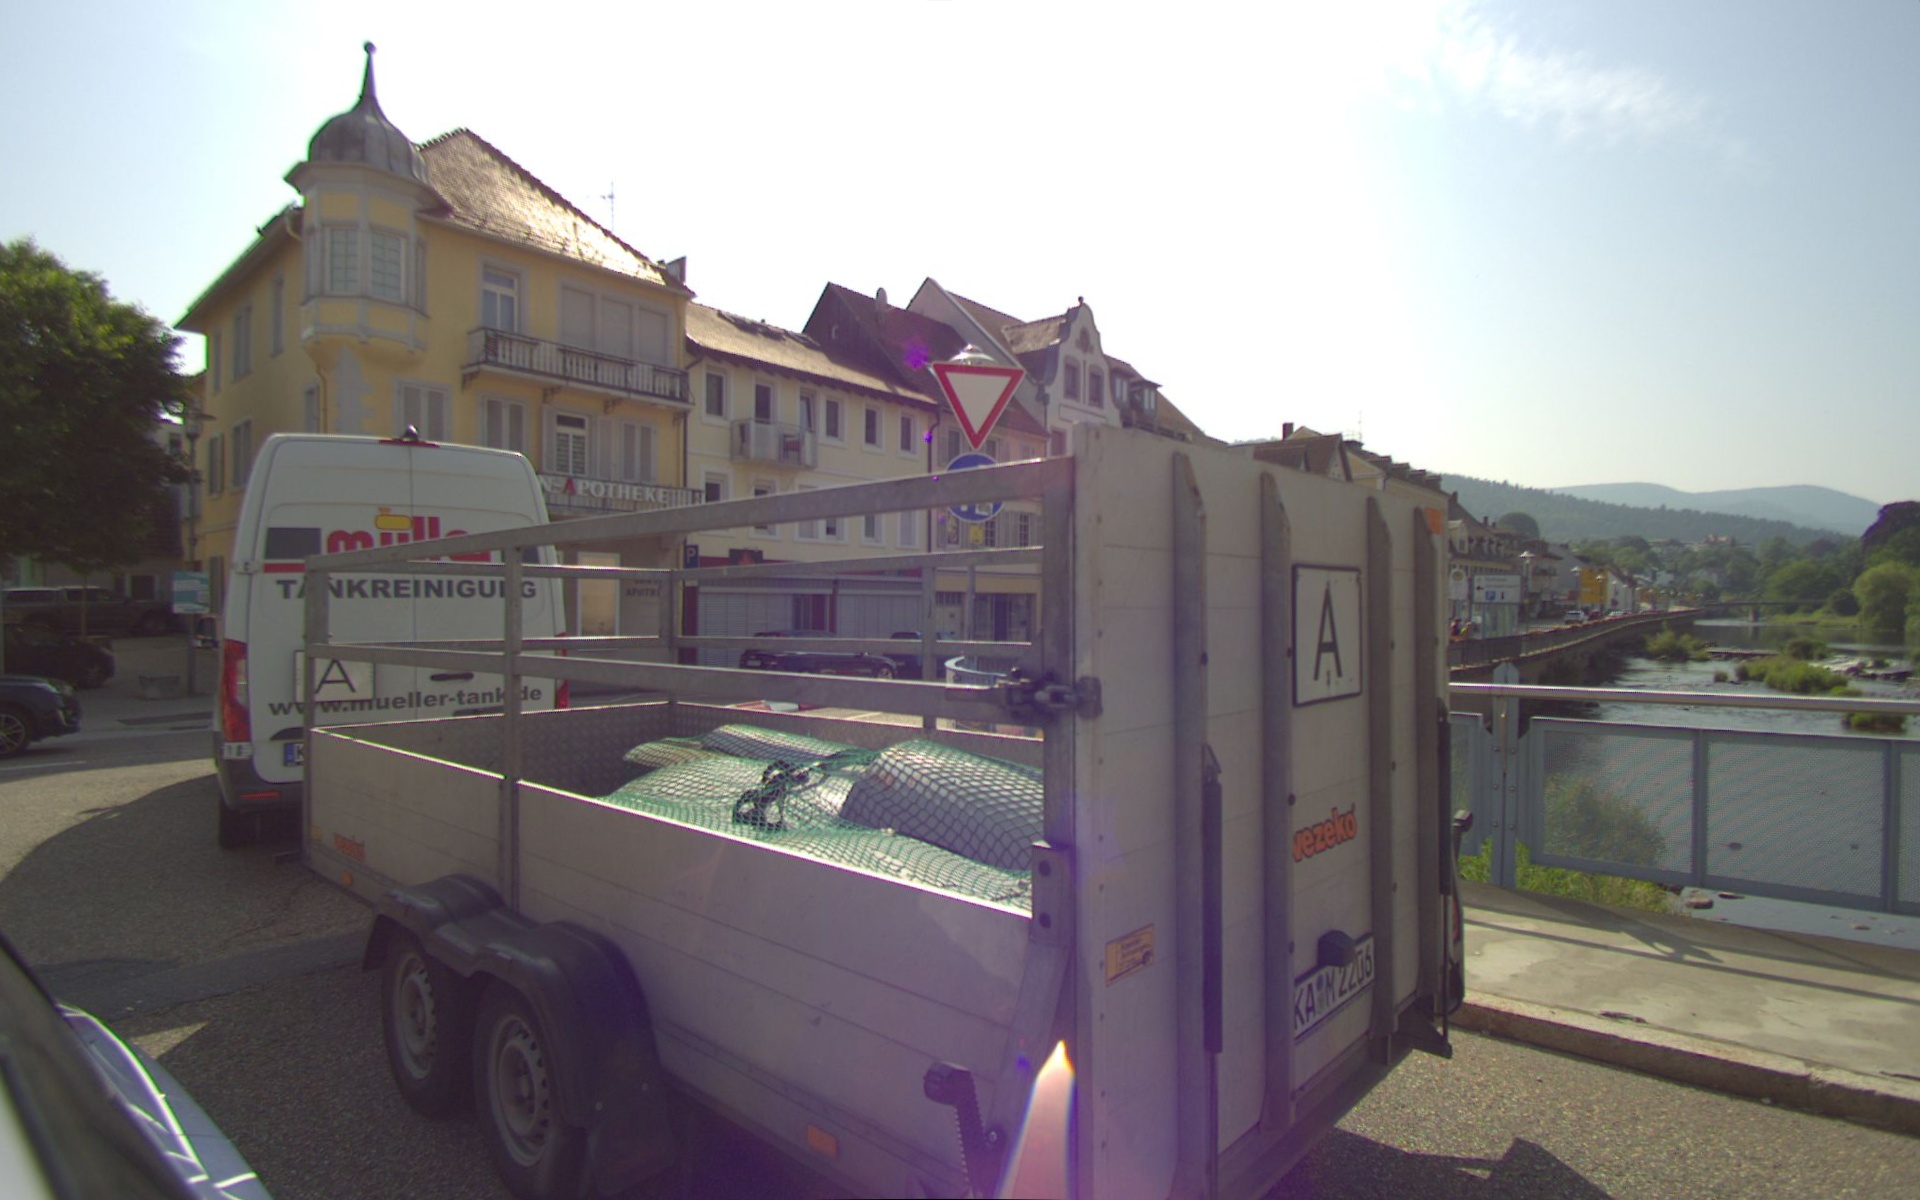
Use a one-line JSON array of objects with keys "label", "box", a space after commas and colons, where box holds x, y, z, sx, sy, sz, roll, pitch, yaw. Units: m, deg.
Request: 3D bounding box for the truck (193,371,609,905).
[{"label": "truck", "box": [-5.167, 0.357, 8.661, 2.077, 2.720, 7.149, 1, -3, -36]}]

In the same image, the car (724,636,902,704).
[{"label": "car", "box": [-3.415, 1.604, 24.191, 1.754, 1.367, 4.146, -2, -1, 38]}]

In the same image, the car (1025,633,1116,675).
[{"label": "car", "box": [4.213, 1.998, 38.266, 1.750, 1.459, 3.747, -1, -2, 37]}]

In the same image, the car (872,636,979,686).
[{"label": "car", "box": [-1.051, 1.875, 31.875, 1.750, 1.459, 3.235, -1, -2, 37]}]

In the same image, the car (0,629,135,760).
[{"label": "car", "box": [-12.874, 1.220, 12.553, 1.684, 1.573, 3.915, -4, -2, 42]}]

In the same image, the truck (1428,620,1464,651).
[{"label": "truck", "box": [40.052, 2.934, 83.407, 1.750, 2.487, 4.602, -1, -2, 37]}]

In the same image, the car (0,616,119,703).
[{"label": "car", "box": [-19.237, 1.175, 20.056, 1.896, 1.554, 3.959, 0, 1, 0]}]

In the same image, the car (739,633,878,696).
[{"label": "car", "box": [-4.108, 1.713, 27.869, 1.850, 1.580, 3.523, -1, -2, 37]}]

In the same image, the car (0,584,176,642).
[{"label": "car", "box": [-30.959, 0.478, 35.582, 1.995, 1.905, 5.013, -1, -1, 34]}]

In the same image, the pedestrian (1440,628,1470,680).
[{"label": "pedestrian", "box": [16.676, 1.820, 34.099, 0.791, 1.719, 0.485, -1, -1, 41]}]

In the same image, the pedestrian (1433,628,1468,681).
[{"label": "pedestrian", "box": [16.292, 1.794, 33.621, 0.869, 1.719, 0.767, -1, -1, 41]}]

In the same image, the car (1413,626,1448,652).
[{"label": "car", "box": [36.742, 3.023, 78.967, 1.750, 1.950, 3.532, -1, -2, 37]}]

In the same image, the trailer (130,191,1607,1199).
[{"label": "trailer", "box": [-1.029, 0.563, 3.950, 5.636, 1.841, 2.583, -2, -2, 42]}]

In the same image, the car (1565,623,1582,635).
[{"label": "car", "box": [75.323, 3.509, 124.243, 1.516, 1.459, 3.235, -1, -2, 37]}]

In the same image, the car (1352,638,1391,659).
[{"label": "car", "box": [26.669, 3.122, 65.528, 1.566, 1.229, 3.235, -1, -2, 37]}]

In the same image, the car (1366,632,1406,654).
[{"label": "car", "box": [29.433, 2.954, 69.877, 1.750, 1.459, 3.235, -1, -2, 37]}]
